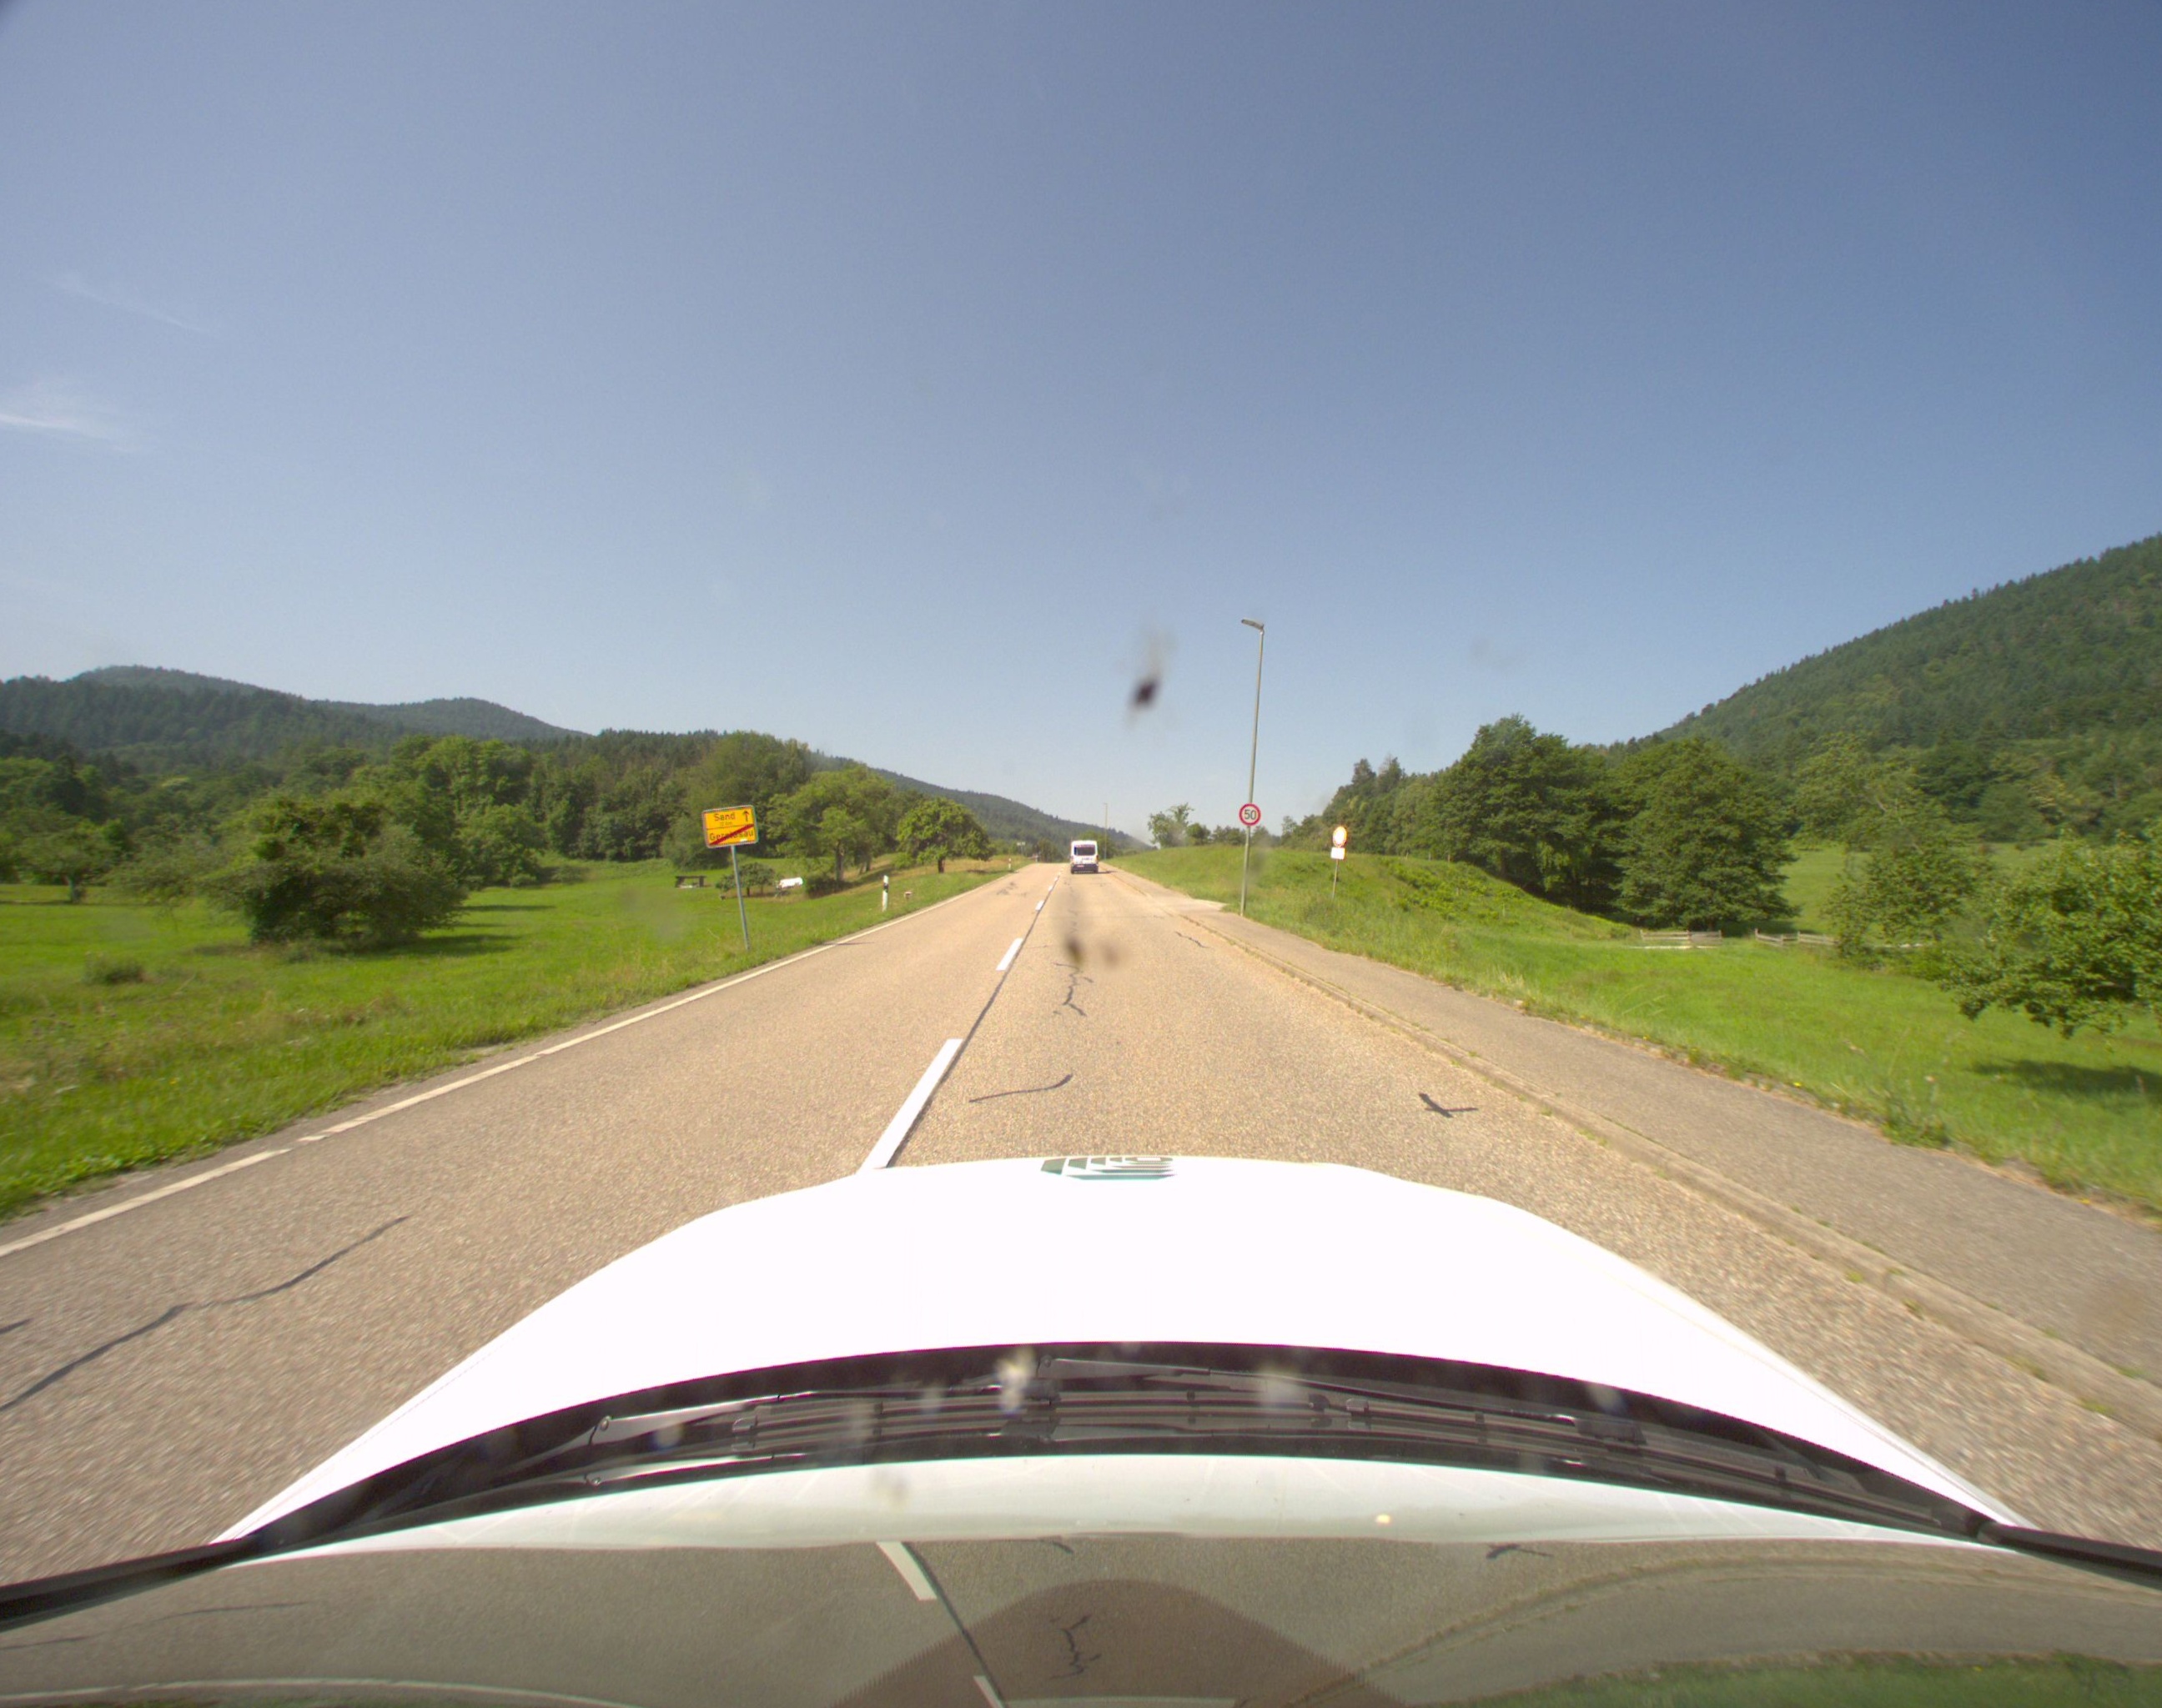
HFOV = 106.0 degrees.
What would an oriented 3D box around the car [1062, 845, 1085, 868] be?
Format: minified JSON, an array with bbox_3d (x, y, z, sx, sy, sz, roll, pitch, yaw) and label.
[{"bbox_3d":[-0.838,0.289,89.498,2.218,2.287,4.977,-3,-2,-4],"label":"car"}]

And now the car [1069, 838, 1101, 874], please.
[{"bbox_3d":[0.233,0.194,61.870,2.216,2.526,4.982,-3,-2,-1],"label":"car"}]
